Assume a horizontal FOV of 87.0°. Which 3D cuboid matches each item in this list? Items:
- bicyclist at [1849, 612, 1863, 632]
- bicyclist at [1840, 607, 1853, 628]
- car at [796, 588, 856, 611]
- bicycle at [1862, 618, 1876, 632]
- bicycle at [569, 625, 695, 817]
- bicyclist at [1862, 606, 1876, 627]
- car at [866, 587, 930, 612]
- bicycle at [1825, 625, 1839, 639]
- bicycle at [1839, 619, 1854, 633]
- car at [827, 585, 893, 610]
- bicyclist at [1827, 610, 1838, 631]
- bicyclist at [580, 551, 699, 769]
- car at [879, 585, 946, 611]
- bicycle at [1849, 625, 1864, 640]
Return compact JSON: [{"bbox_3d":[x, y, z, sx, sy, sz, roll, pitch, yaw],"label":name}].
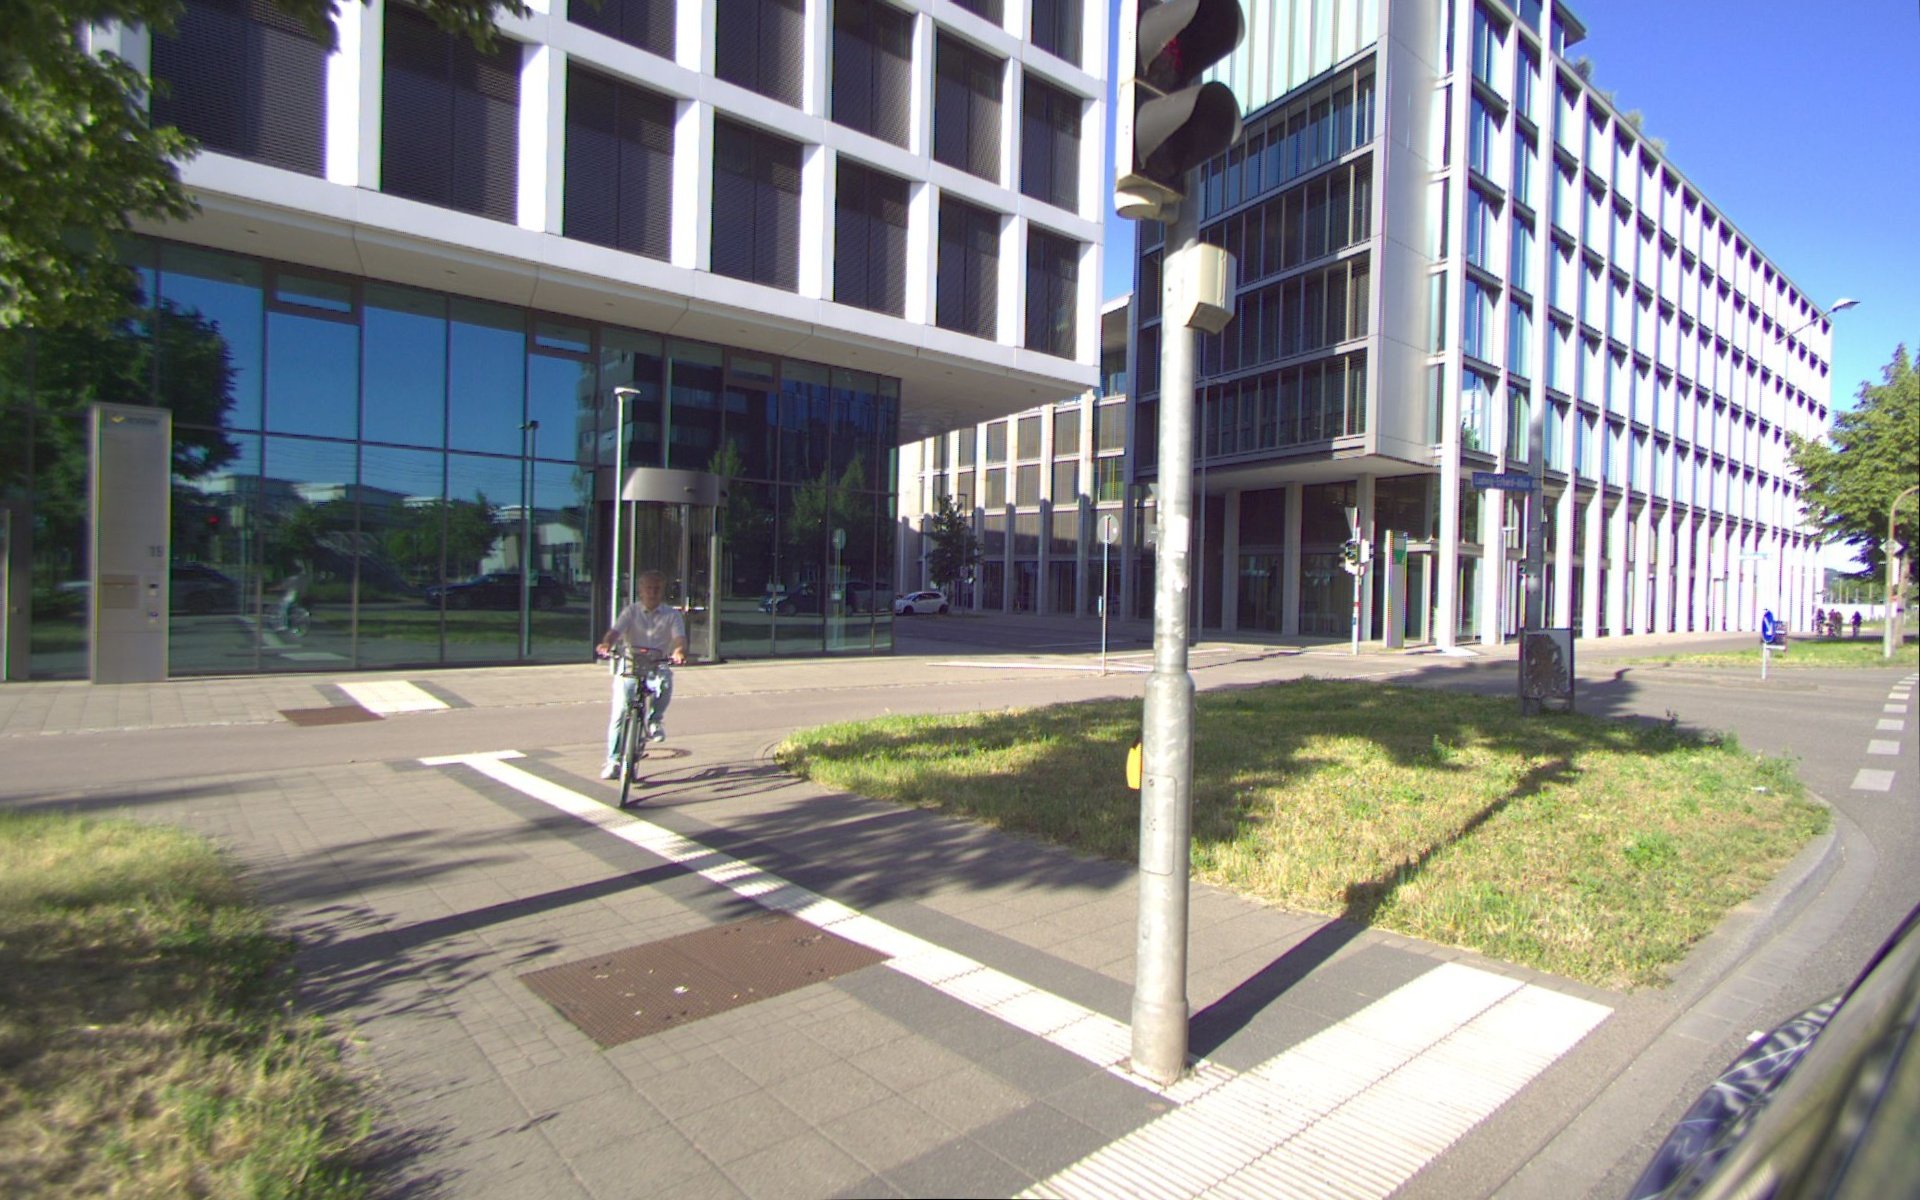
[{"bbox_3d":[53.903,1.323,60.867,0.498,1.232,0.534,1,0,-39],"label":"bicyclist"},{"bbox_3d":[56.055,1.109,64.005,0.449,1.305,0.534,1,0,-39],"label":"bicyclist"},{"bbox_3d":[-10.686,-0.050,80.809,4.366,1.749,1.796,1,0,-26],"label":"car"},{"bbox_3d":[56.526,1.551,62.914,1.320,0.828,0.464,0,0,-39],"label":"bicycle"},{"bbox_3d":[-2.452,0.836,7.766,0.728,1.188,1.965,1,1,-13],"label":"bicycle"},{"bbox_3d":[56.514,1.044,62.918,0.511,1.305,0.534,1,0,-39],"label":"bicyclist"},{"bbox_3d":[-4.149,-0.032,67.505,3.918,1.524,1.663,1,1,-28],"label":"car"},{"bbox_3d":[53.126,1.937,61.653,1.296,0.828,0.415,0,0,-39],"label":"bicycle"},{"bbox_3d":[56.095,1.656,64.034,1.320,0.828,0.464,0,0,-39],"label":"bicycle"},{"bbox_3d":[-7.294,-0.190,73.785,4.366,1.749,1.796,1,0,-26],"label":"car"},{"bbox_3d":[53.127,1.252,61.630,0.410,1.305,0.448,1,0,-39],"label":"bicyclist"},{"bbox_3d":[-2.407,0.426,7.698,0.758,1.550,0.851,2,1,-13],"label":"bicyclist"},{"bbox_3d":[-3.033,-0.112,64.931,3.918,1.524,1.663,1,1,-28],"label":"car"},{"bbox_3d":[53.989,1.954,60.948,1.320,0.828,0.464,0,0,-39],"label":"bicycle"}]
